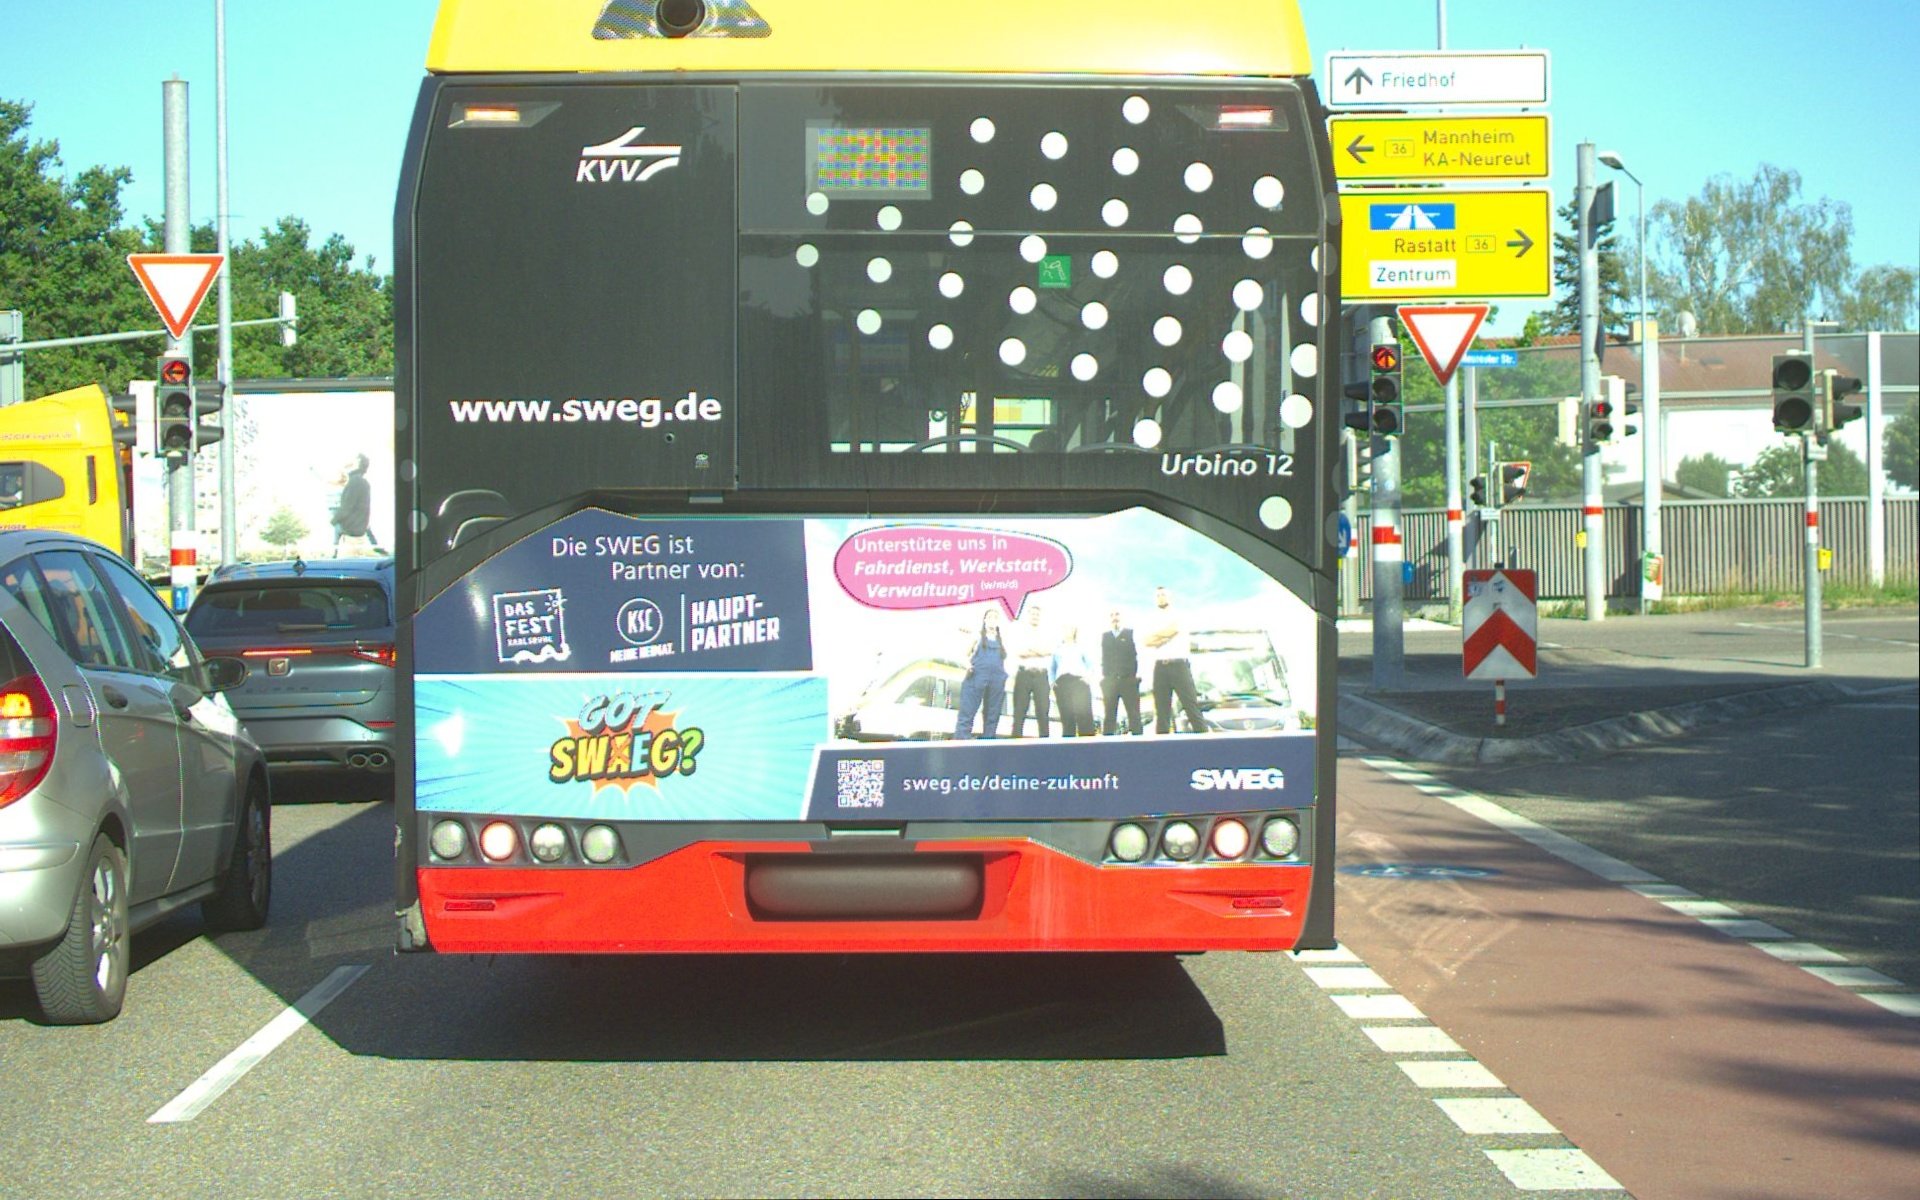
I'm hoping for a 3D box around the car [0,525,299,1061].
[{"bbox_3d":[-3.602,0.565,12.188,1.761,1.584,4.000,-2,1,-1],"label":"car"}]

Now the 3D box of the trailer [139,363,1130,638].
[{"bbox_3d":[-4.925,-1.543,52.870,14.653,3.999,3.441,-1,1,-7],"label":"trailer"}]

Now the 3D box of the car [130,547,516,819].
[{"bbox_3d":[-3.808,0.435,21.120,1.692,1.453,3.751,-2,1,-1],"label":"car"}]

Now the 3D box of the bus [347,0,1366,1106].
[{"bbox_3d":[-0.289,-0.398,14.886,2.642,3.156,11.861,0,1,0],"label":"bus"}]

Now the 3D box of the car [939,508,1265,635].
[{"bbox_3d":[1.893,-0.393,46.374,4.066,1.521,1.769,-2,1,-10],"label":"car"}]

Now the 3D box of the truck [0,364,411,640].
[{"bbox_3d":[-11.674,-1.477,52.061,6.474,3.999,3.441,-1,1,-7],"label":"truck"}]
